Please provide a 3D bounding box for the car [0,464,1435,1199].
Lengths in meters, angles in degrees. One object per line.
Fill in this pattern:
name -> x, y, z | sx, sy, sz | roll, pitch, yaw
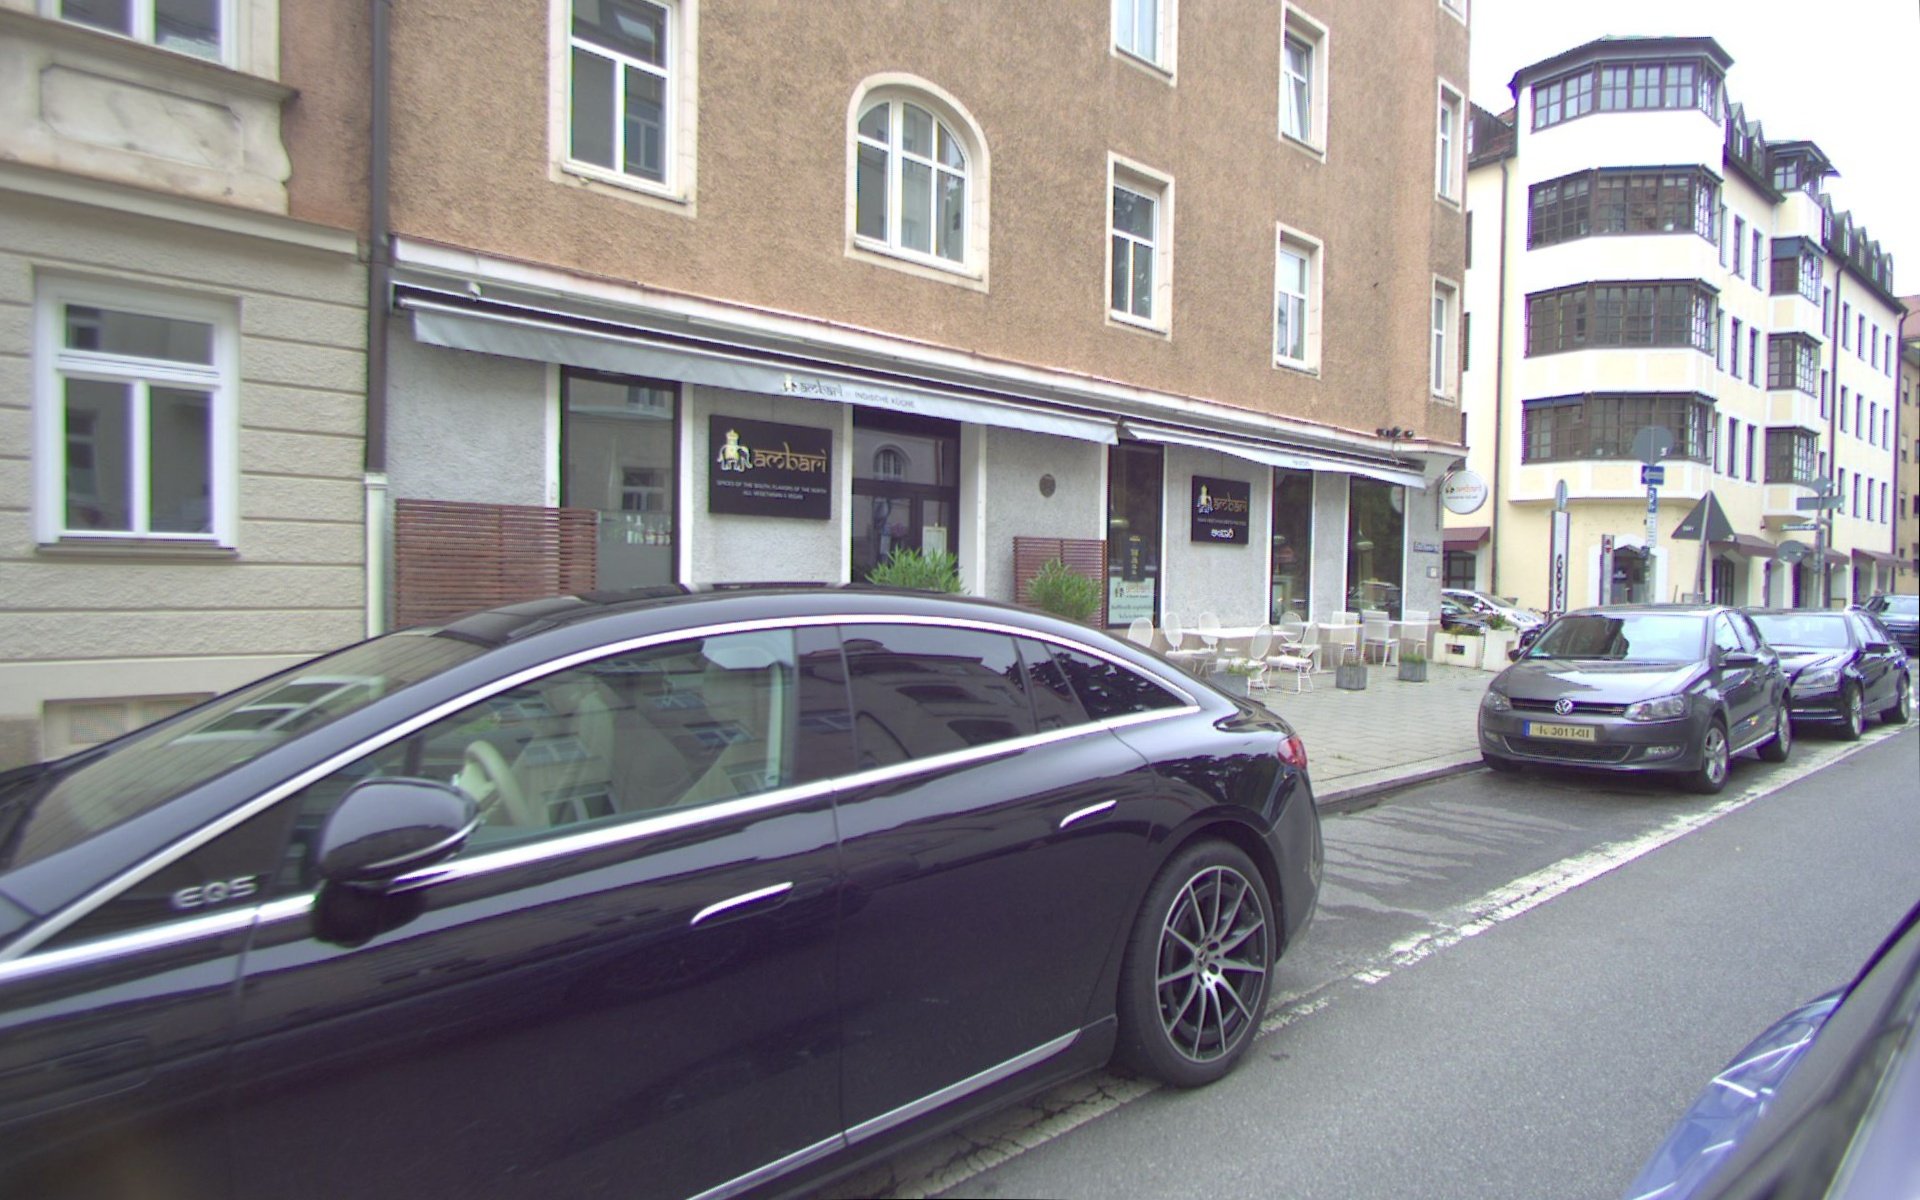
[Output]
car -> -0.874, 0.594, 2.881 | 5.537, 1.572, 1.934 | 0, 1, -41

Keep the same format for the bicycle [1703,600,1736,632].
bicycle -> 22.889, 0.465, 30.493 | 1.664, 0.912, 0.262 | -1, 6, -37

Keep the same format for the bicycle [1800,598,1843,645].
bicycle -> 22.991, 0.543, 26.994 | 2.015, 1.173, 0.430 | -1, 3, -38

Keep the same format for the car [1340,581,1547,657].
car -> 11.030, 0.359, 23.311 | 1.858, 1.506, 3.883 | -1, 2, -38

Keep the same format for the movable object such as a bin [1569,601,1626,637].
movable object such as a bin -> 17.409, 0.517, 27.647 | 0.671, 0.911, 1.126 | 0, 2, -38

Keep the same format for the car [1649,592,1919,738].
car -> 10.235, 0.625, 12.272 | 4.702, 1.422, 1.851 | 0, 1, -39

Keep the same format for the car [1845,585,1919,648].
car -> 26.856, 0.428, 28.518 | 4.415, 1.642, 2.112 | 0, 2, -39

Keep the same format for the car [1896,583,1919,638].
car -> 31.039, 0.369, 31.521 | 4.085, 1.607, 1.821 | -1, 6, -35

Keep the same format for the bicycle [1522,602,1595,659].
bicycle -> 11.404, 0.582, 19.262 | 1.769, 1.017, 0.497 | 2, 2, -37

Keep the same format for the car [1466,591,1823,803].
car -> 6.198, 0.655, 8.979 | 4.109, 1.411, 1.575 | -1, 2, -41

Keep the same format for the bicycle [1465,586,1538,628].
bicycle -> 16.679, 0.190, 31.220 | 0.506, 1.201, 1.906 | 0, 2, -38

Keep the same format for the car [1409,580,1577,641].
car -> 14.785, 0.250, 28.236 | 1.718, 1.458, 3.748 | 3, 0, -34
